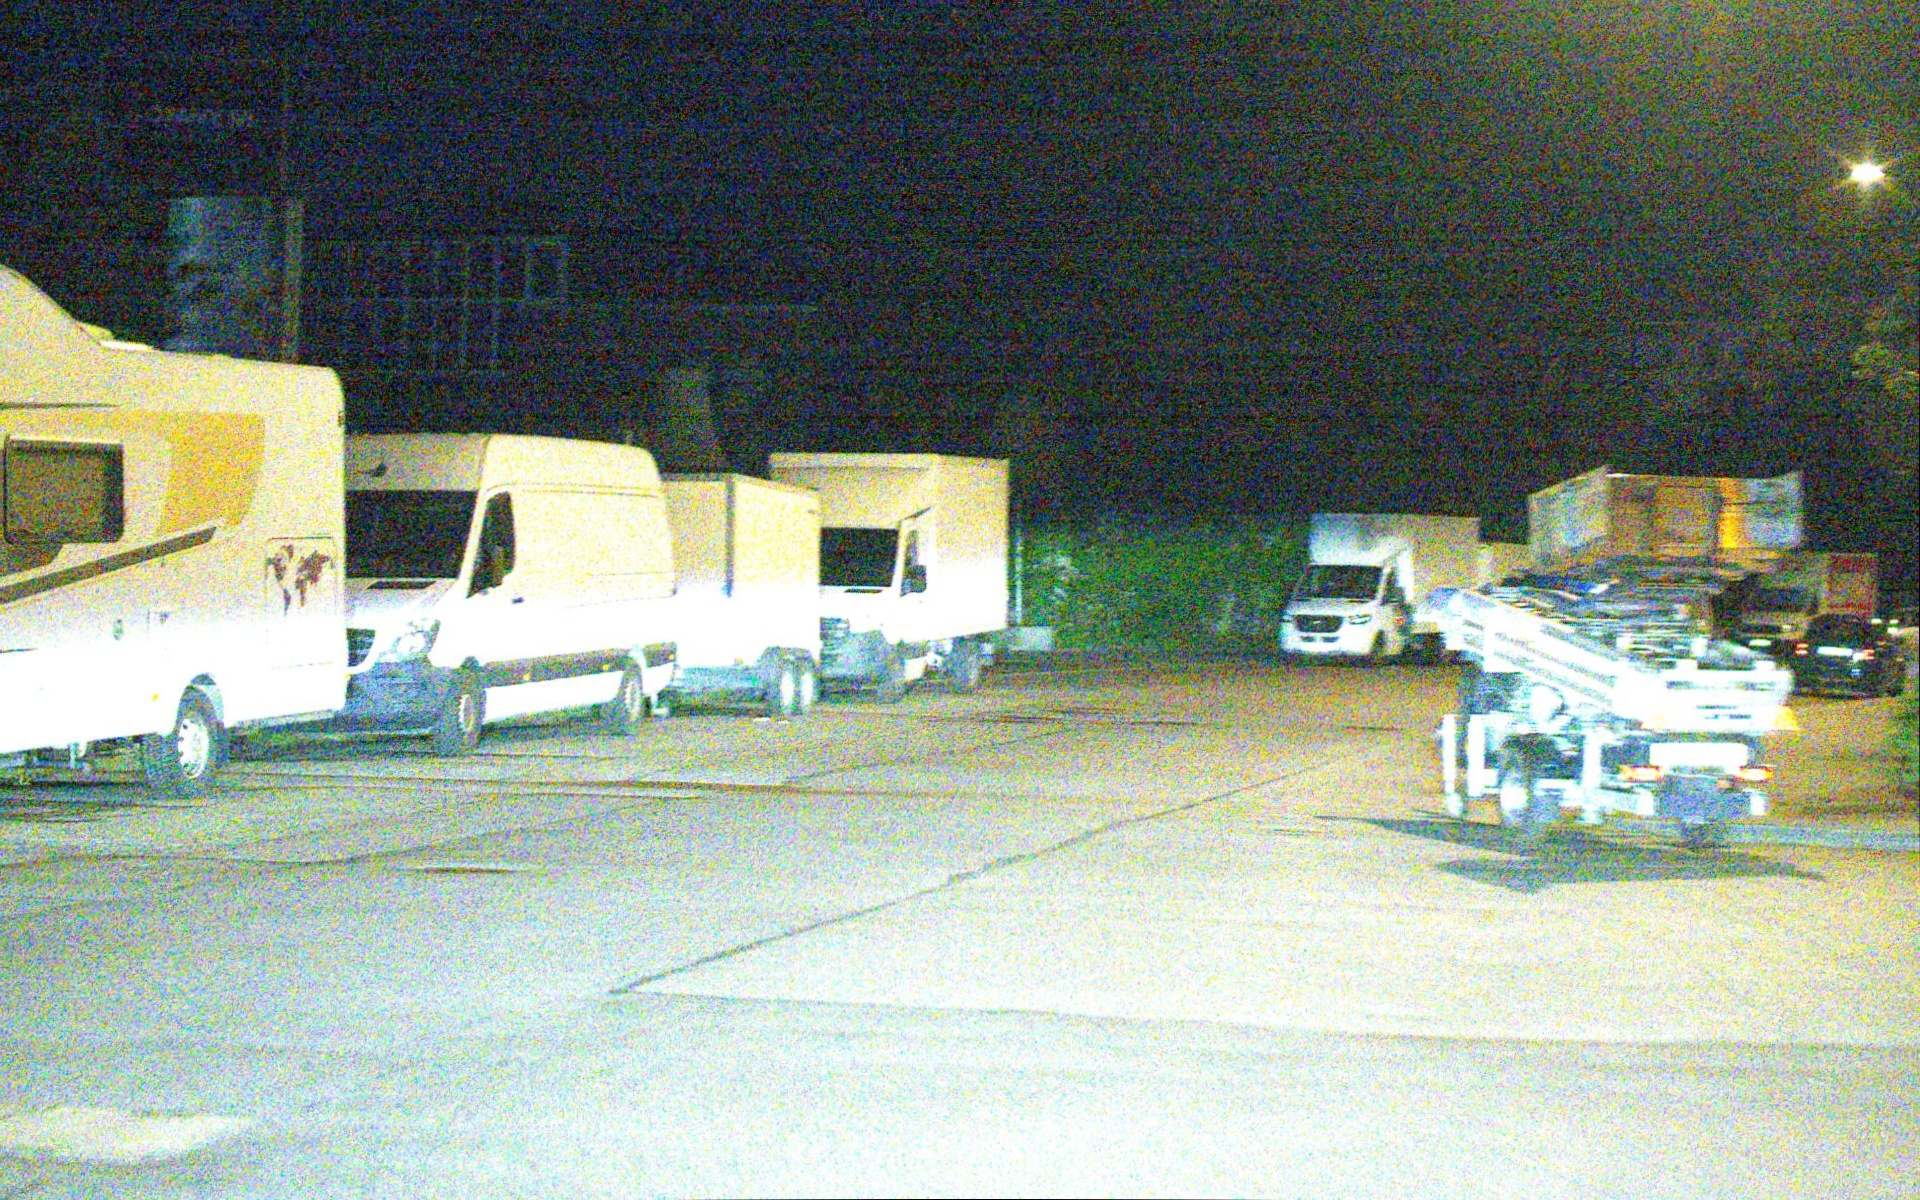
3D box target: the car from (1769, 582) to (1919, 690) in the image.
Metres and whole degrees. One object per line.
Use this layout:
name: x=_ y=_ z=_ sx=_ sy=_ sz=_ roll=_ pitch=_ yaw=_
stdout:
car: x=16.254 y=0.681 z=62.974 sx=1.723 sy=1.815 sz=3.993 roll=4 pitch=0 yaw=28

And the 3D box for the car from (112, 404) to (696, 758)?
car: x=-4.421 y=-0.171 z=29.032 sx=2.520 sy=2.597 sz=7.087 roll=1 pitch=0 yaw=11

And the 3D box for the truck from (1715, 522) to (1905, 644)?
truck: x=25.398 y=-0.468 z=102.401 sx=1.998 sy=3.392 sz=8.960 roll=4 pitch=2 yaw=36

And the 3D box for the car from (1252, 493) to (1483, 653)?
car: x=8.588 y=-0.551 z=71.738 sx=2.522 sy=3.160 sz=7.127 roll=1 pitch=0 yaw=26

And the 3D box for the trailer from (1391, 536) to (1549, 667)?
trailer: x=11.509 y=0.014 z=77.337 sx=1.997 sy=2.803 sz=4.696 roll=3 pitch=1 yaw=27

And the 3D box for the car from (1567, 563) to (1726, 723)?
car: x=8.681 y=0.529 z=43.262 sx=1.722 sy=1.815 sz=3.997 roll=3 pitch=0 yaw=13

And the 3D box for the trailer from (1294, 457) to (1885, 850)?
trailer: x=3.742 y=0.287 z=21.531 sx=1.558 sy=2.153 sz=5.223 roll=1 pitch=0 yaw=-15

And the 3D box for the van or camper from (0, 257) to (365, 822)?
van or camper: x=-6.189 y=-0.349 z=20.128 sx=2.520 sy=3.084 sz=7.440 roll=1 pitch=0 yaw=14

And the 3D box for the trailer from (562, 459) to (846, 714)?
trailer: x=-2.618 y=-0.161 z=35.979 sx=1.995 sy=2.519 sz=3.566 roll=1 pitch=1 yaw=13

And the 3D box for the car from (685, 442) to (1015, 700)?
car: x=-1.215 y=-0.362 z=42.803 sx=2.520 sy=2.917 sz=7.198 roll=1 pitch=0 yaw=11

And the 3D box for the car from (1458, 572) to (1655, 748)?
car: x=6.340 y=0.608 z=36.273 sx=1.722 sy=1.655 sz=3.997 roll=3 pitch=0 yaw=13
